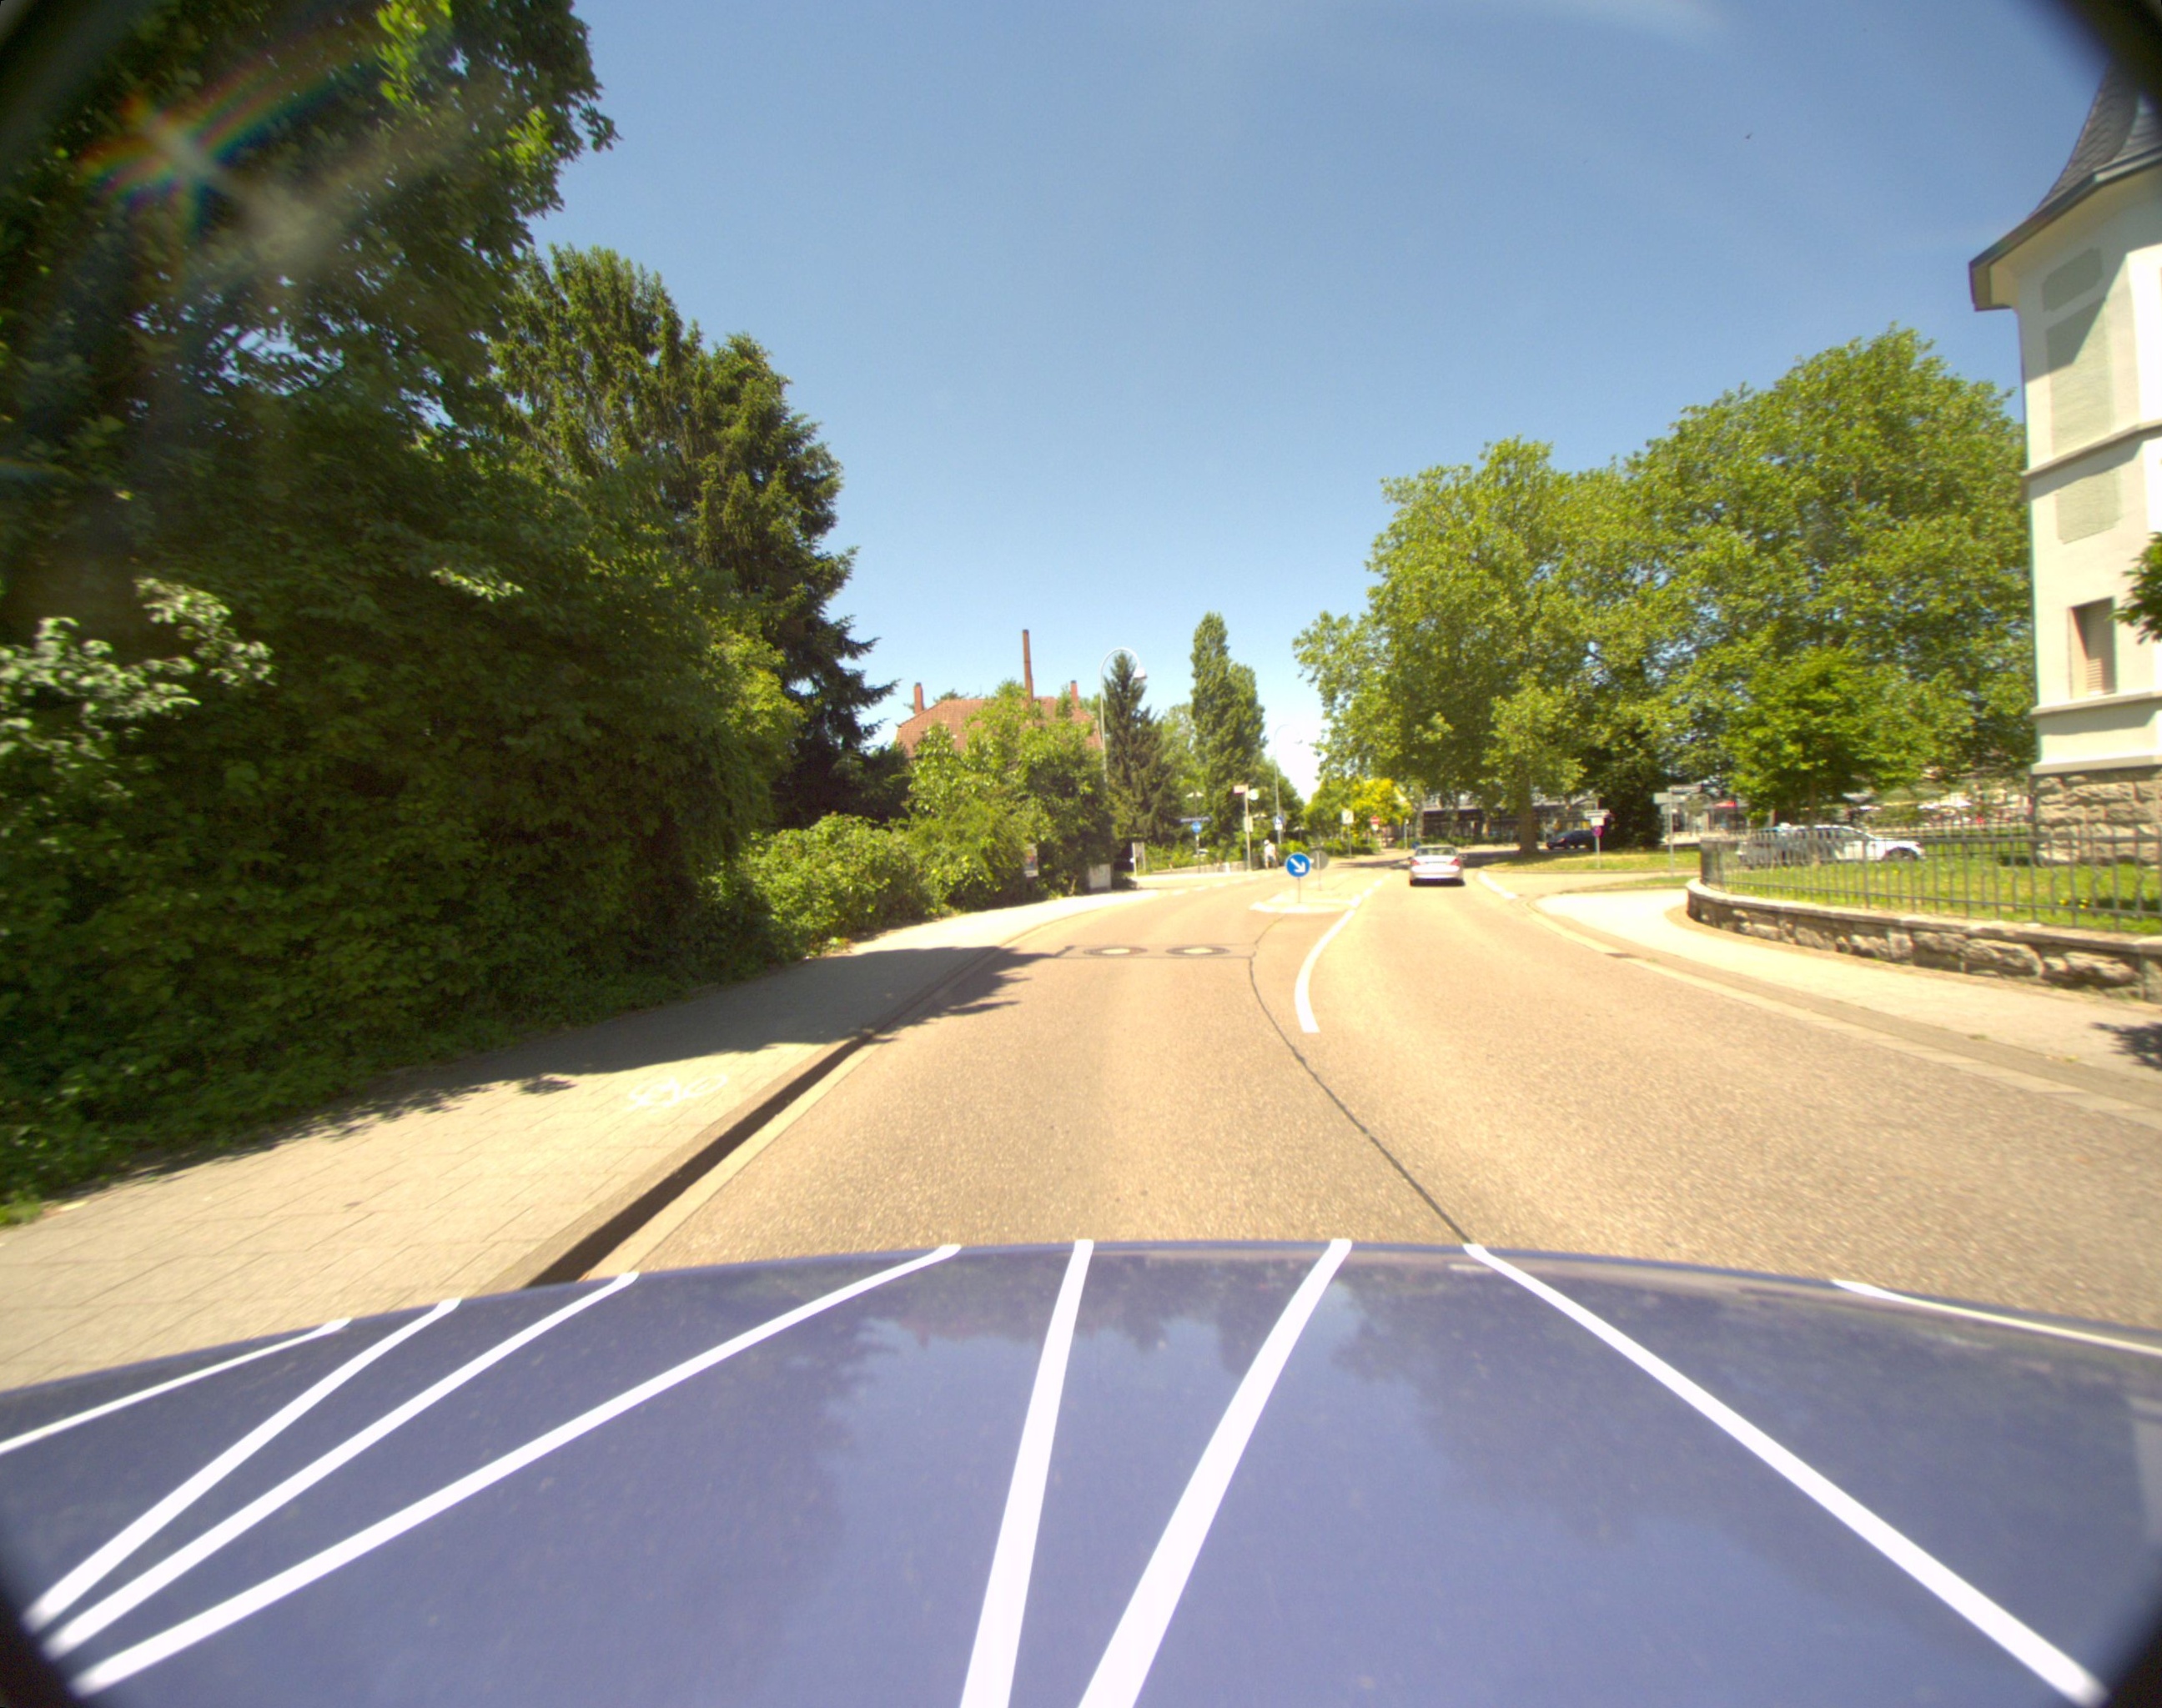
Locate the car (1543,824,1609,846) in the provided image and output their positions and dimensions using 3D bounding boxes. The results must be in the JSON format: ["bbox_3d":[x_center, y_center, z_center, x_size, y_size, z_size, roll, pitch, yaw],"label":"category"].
[{"bbox_3d":[39.054,-1.500,60.006,4.181,1.536,1.778,-3,2,-6],"label":"car"}]

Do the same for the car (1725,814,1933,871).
[{"bbox_3d":[23.411,-0.338,23.999,4.295,1.614,1.881,-1,0,17],"label":"car"}]

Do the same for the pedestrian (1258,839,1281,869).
[{"bbox_3d":[11.176,-0.018,45.042,0.917,1.762,0.912,-4,3,-44],"label":"pedestrian"}]

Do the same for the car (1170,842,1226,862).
[{"bbox_3d":[10.242,-0.197,66.782,4.497,1.491,1.769,-3,1,-3],"label":"car"}]

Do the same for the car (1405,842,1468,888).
[{"bbox_3d":[12.534,0.336,26.677,1.759,1.427,4.311,-1,1,28],"label":"car"}]

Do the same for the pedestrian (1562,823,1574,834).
[{"bbox_3d":[60.853,-3.147,95.010,0.868,1.267,0.830,-3,1,-7],"label":"pedestrian"}]
